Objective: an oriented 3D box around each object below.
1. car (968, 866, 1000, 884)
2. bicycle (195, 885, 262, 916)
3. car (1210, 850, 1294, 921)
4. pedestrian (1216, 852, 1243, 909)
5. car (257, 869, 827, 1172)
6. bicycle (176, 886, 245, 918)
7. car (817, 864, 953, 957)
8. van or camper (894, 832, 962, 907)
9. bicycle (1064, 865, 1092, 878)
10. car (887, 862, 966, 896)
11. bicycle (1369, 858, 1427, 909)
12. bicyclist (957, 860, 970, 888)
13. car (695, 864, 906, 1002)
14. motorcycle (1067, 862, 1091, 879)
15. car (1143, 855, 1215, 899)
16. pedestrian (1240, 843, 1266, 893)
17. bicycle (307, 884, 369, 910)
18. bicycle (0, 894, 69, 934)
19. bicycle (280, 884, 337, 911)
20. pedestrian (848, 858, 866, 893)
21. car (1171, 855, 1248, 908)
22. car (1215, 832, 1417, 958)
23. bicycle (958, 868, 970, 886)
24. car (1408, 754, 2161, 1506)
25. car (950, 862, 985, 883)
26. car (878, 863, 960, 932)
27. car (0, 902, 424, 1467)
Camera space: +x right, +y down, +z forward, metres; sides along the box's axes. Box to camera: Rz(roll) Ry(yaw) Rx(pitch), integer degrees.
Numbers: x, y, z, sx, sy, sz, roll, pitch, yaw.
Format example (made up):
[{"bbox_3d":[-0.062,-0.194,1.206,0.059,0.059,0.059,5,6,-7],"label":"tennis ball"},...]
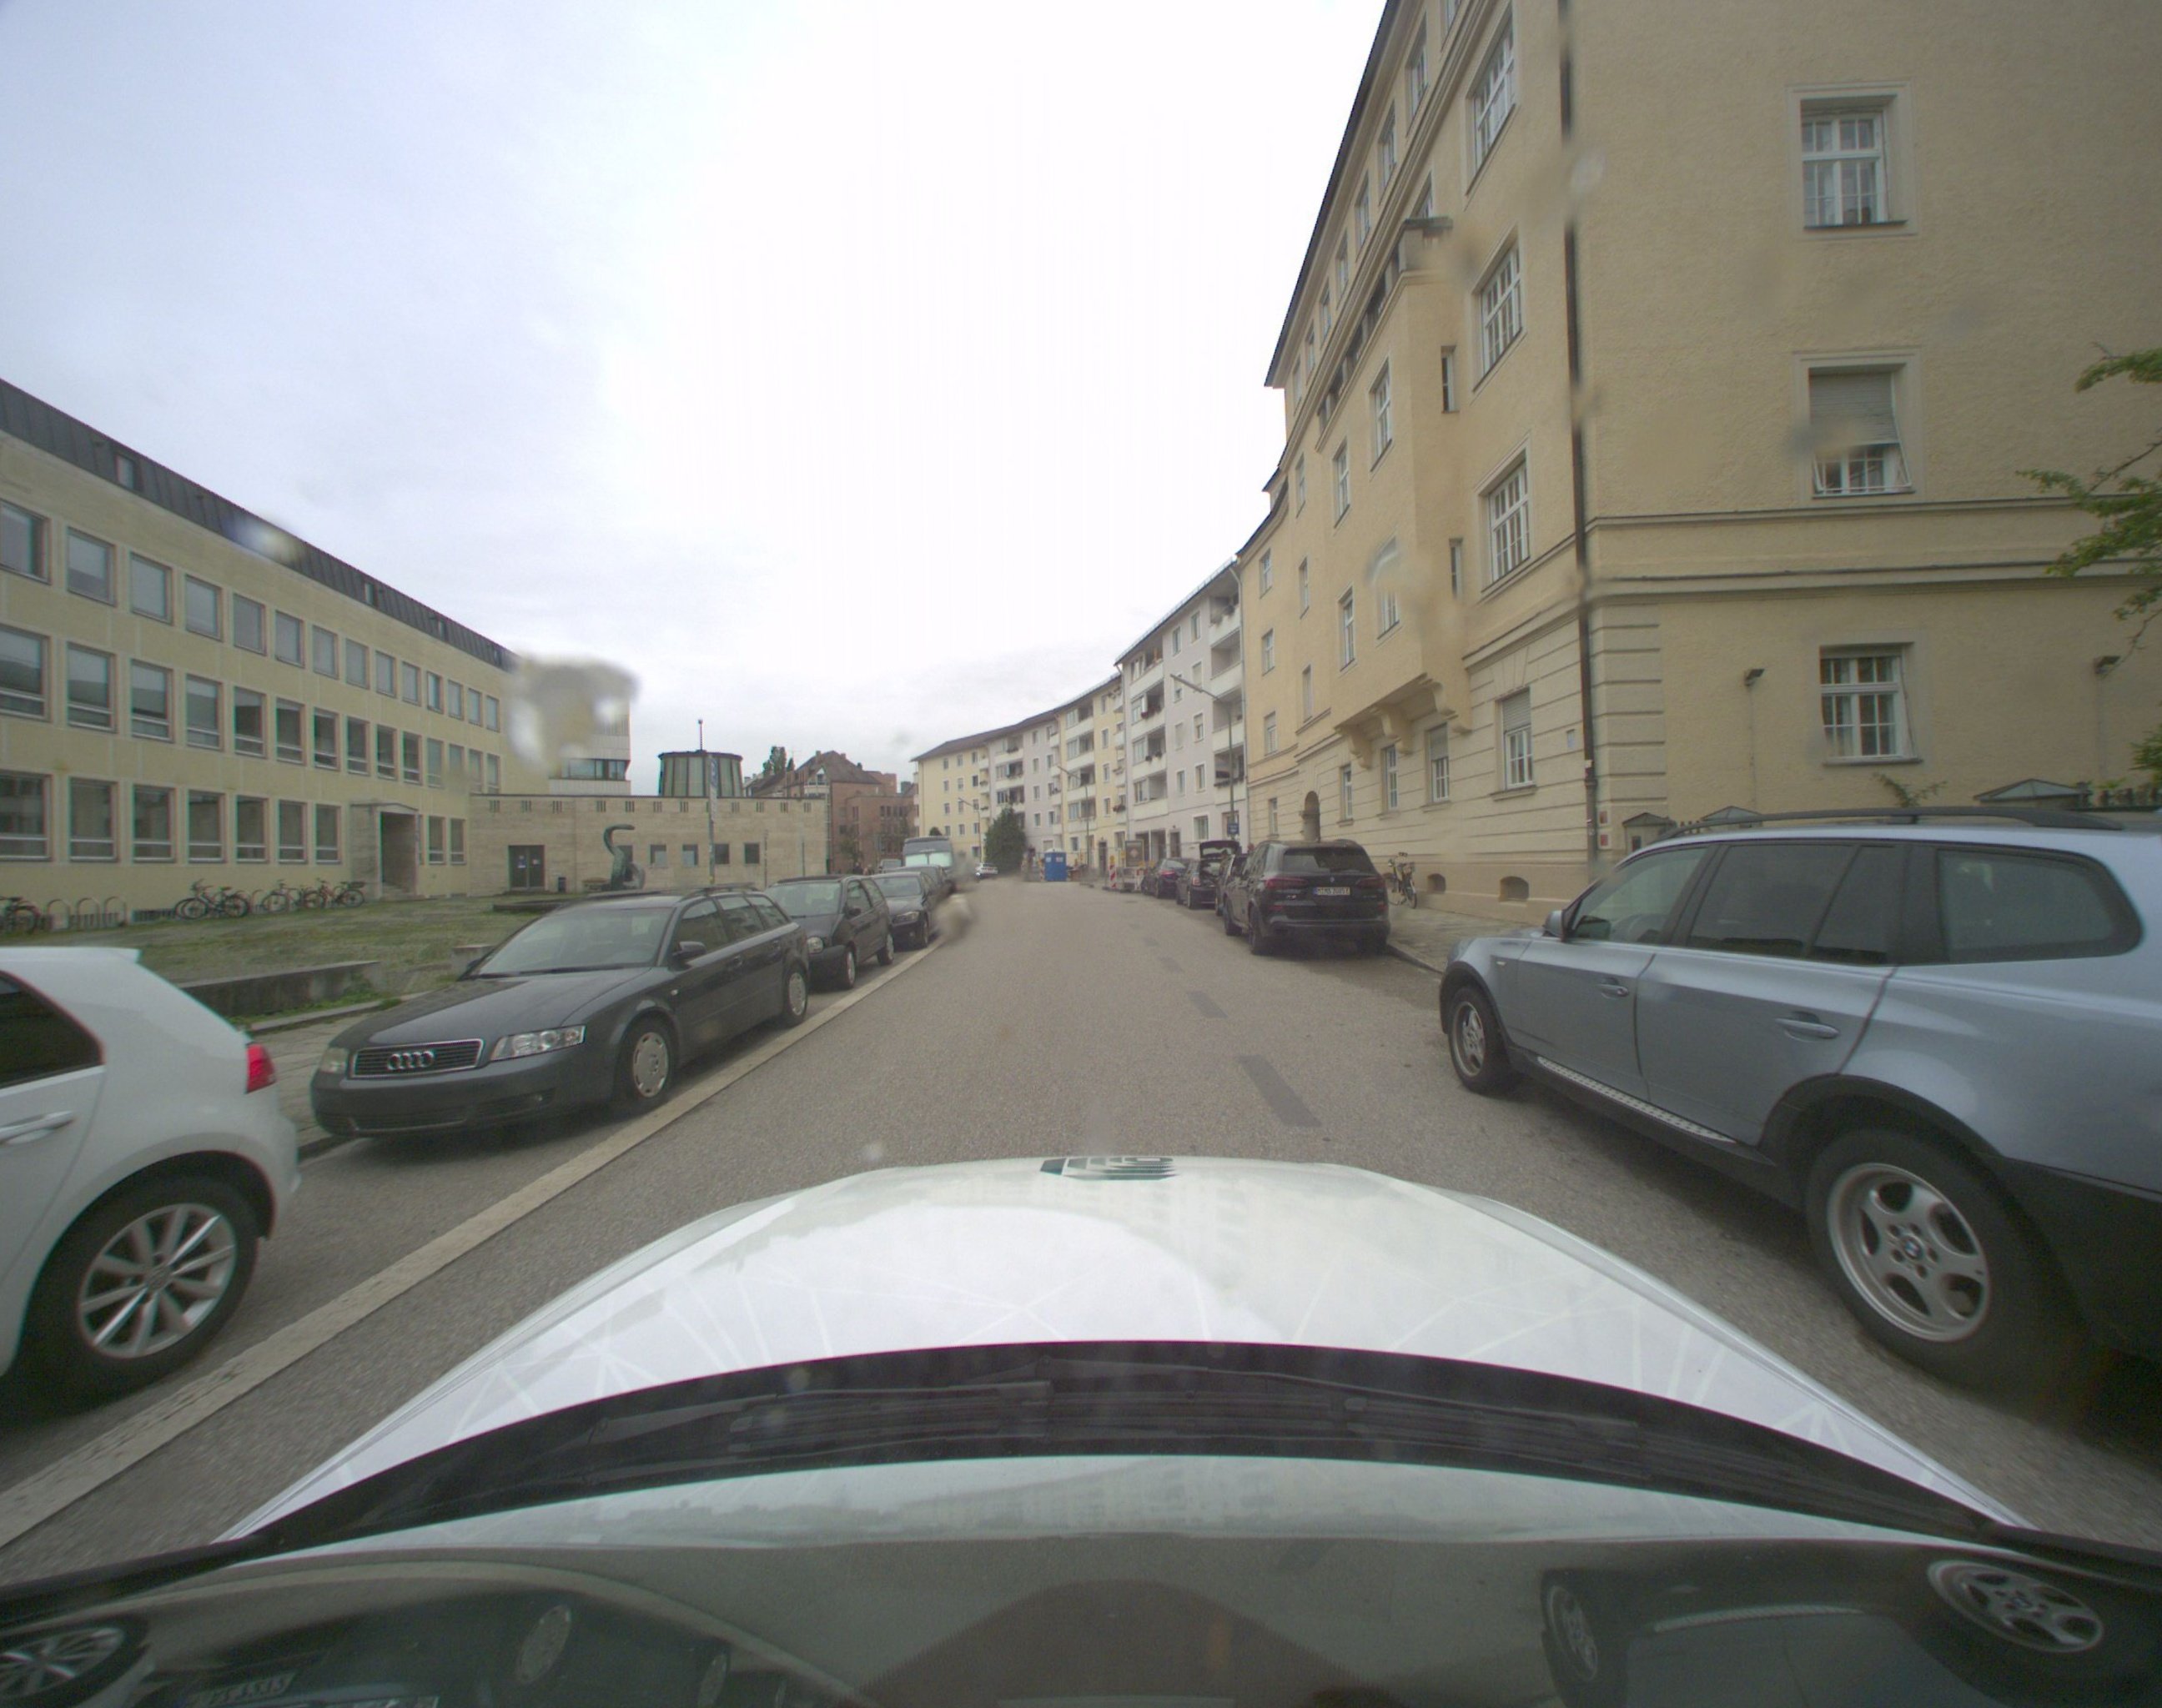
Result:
[{"bbox_3d":[-9.192,1.947,76.837,1.839,1.574,3.968,-1,-1,-24],"label":"car"},{"bbox_3d":[-27.537,1.492,26.324,1.473,0.945,0.412,0,-1,-15],"label":"bicycle"},{"bbox_3d":[4.023,0.705,19.537,1.507,1.555,3.021,-1,0,3],"label":"car"},{"bbox_3d":[4.091,0.726,22.398,0.626,1.528,0.578,-1,-1,0],"label":"pedestrian"},{"bbox_3d":[-3.600,0.946,6.566,1.625,1.494,4.276,-3,0,1],"label":"car"},{"bbox_3d":[-27.275,1.489,25.535,1.473,0.945,0.412,0,-1,-15],"label":"bicycle"},{"bbox_3d":[-3.748,1.010,16.368,1.770,1.465,4.461,-4,0,-3],"label":"car"},{"bbox_3d":[-5.820,0.537,31.390,2.297,2.581,6.065,-1,0,-10],"label":"van or camper"},{"bbox_3d":[-0.256,1.545,70.928,2.242,1.069,0.912,-1,-1,-23],"label":"bicycle"},{"bbox_3d":[-8.255,1.326,43.651,1.692,1.507,3.833,-4,0,42],"label":"car"},{"bbox_3d":[7.106,0.623,18.344,0.500,1.049,2.139,-4,-1,3],"label":"bicycle"},{"bbox_3d":[-7.815,1.317,54.161,0.745,1.771,0.812,-4,0,-12],"label":"bicyclist"},{"bbox_3d":[-3.718,0.959,11.465,1.626,1.494,3.603,-4,0,0],"label":"car"},{"bbox_3d":[-0.151,1.263,62.903,0.935,1.221,2.488,-1,-1,-22],"label":"motorcycle"},{"bbox_3d":[3.556,0.784,30.427,1.903,1.477,4.942,-1,0,-2],"label":"car"},{"bbox_3d":[6.067,0.496,28.824,0.615,1.690,0.919,-5,-1,2],"label":"pedestrian"},{"bbox_3d":[-28.160,1.638,30.876,1.709,0.945,0.412,0,-1,-15],"label":"bicycle"},{"bbox_3d":[-26.029,1.480,20.052,1.409,0.945,0.412,0,-1,-15],"label":"bicycle"},{"bbox_3d":[-27.938,1.580,29.475,1.473,0.945,0.412,0,-1,-15],"label":"bicycle"},{"bbox_3d":[-12.280,1.171,44.636,0.847,1.866,0.708,-1,-1,-27],"label":"pedestrian"},{"bbox_3d":[3.734,0.760,24.151,1.626,1.417,3.677,-1,0,-1],"label":"car"},{"bbox_3d":[3.702,0.581,13.936,2.161,1.739,5.026,-1,0,2],"label":"car"},{"bbox_3d":[-7.791,1.518,54.157,0.586,1.069,1.928,-4,0,-12],"label":"bicycle"},{"bbox_3d":[3.323,0.608,3.766,1.840,1.663,4.498,-1,0,1],"label":"car"},{"bbox_3d":[-8.708,1.454,62.186,1.924,1.412,4.677,-4,-1,-16],"label":"car"},{"bbox_3d":[-3.976,1.024,20.366,1.516,1.465,2.883,-4,0,-3],"label":"car"},{"bbox_3d":[-3.781,0.969,1.395,1.735,1.422,4.294,-4,0,0],"label":"car"}]
